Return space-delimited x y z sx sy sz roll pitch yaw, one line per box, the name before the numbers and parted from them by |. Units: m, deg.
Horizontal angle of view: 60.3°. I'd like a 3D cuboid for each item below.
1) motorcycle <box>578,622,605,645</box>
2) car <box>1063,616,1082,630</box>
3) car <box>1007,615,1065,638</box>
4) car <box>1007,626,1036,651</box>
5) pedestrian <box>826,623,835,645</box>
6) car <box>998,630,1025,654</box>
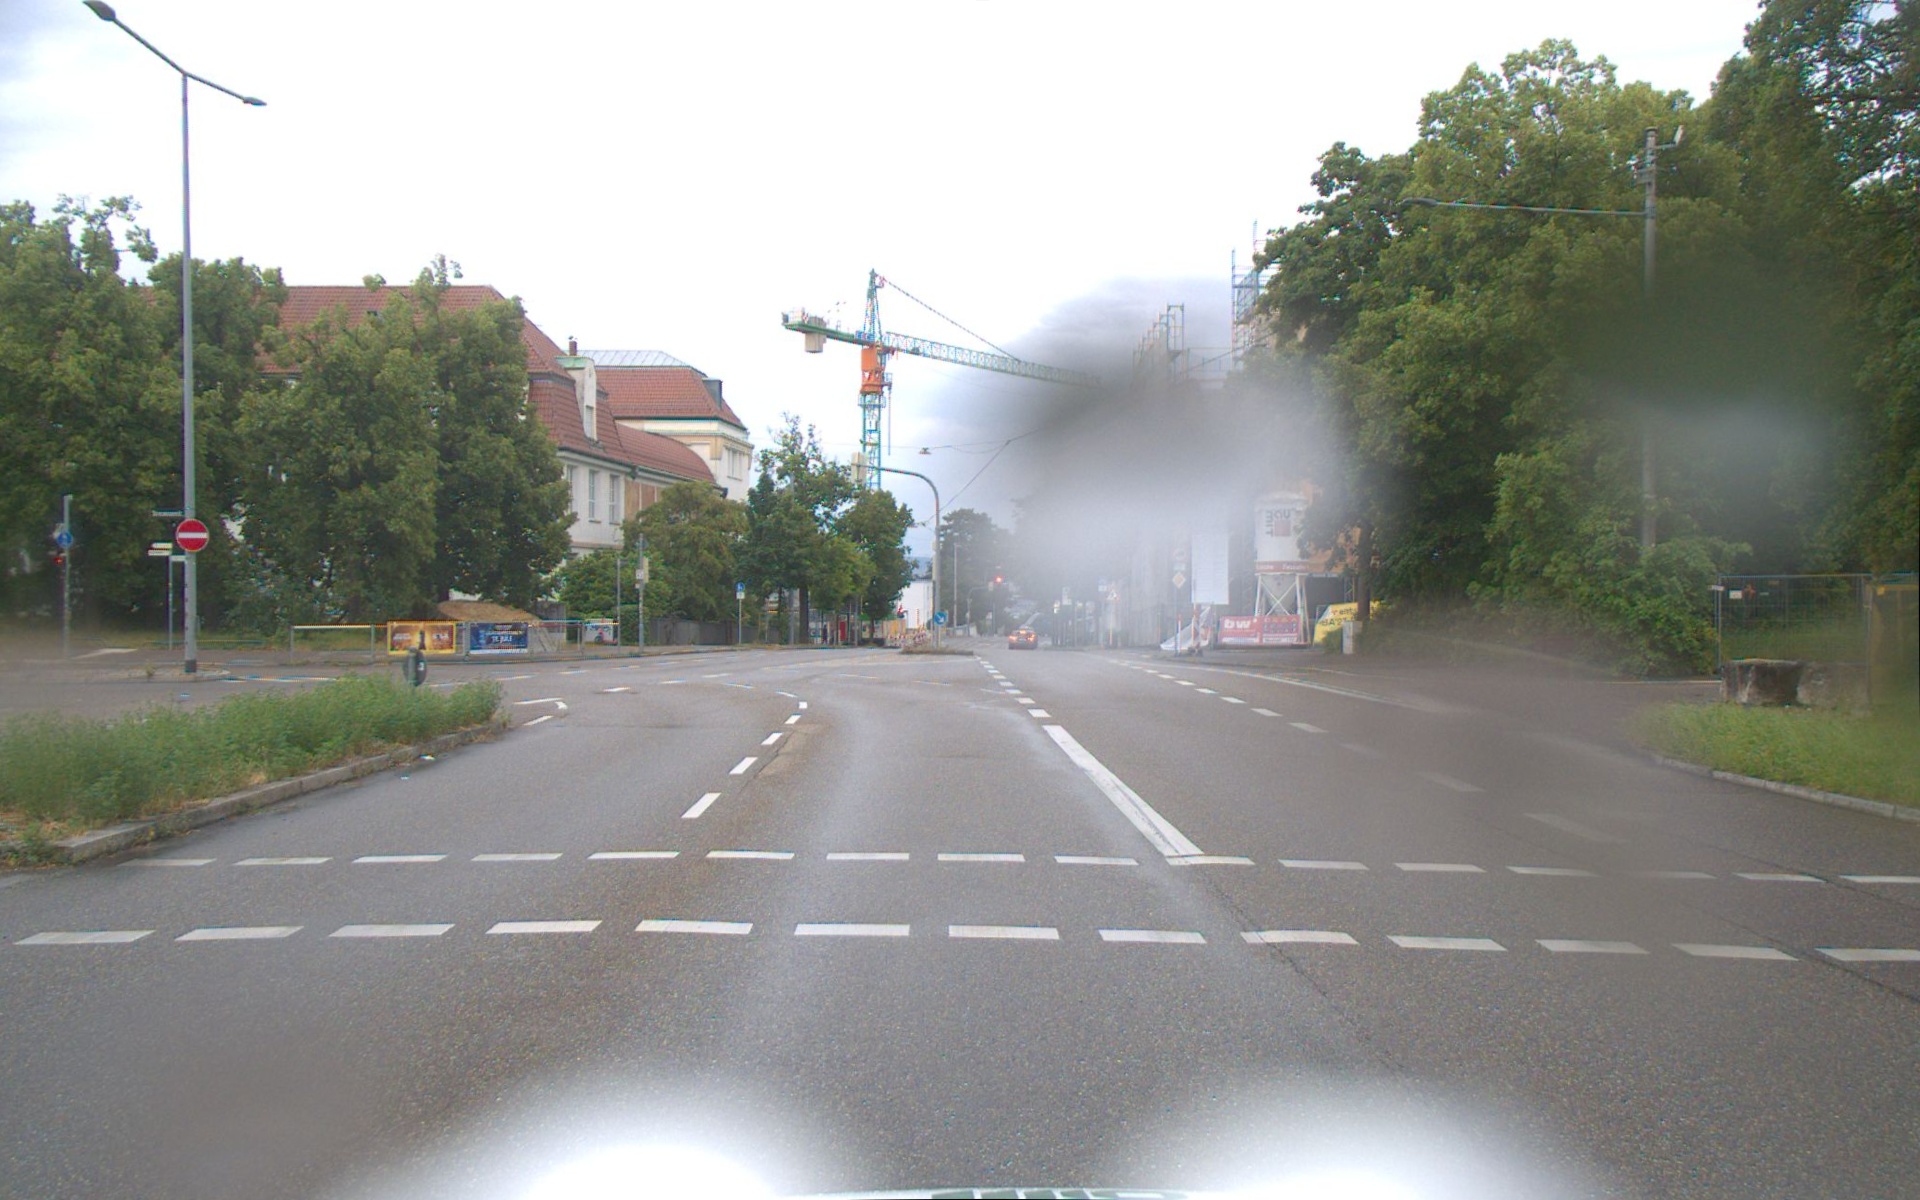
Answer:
motorcycle | -14.410 1.307 64.709 0.832 0.893 0.877 1 0 -1
car | 14.941 3.101 219.517 1.951 1.780 4.003 -1 0 10
car | 8.449 2.946 183.756 6.117 2.445 2.822 1 0 -36
car | 4.632 2.906 124.879 1.953 1.780 3.999 -1 0 -1
pedestrian | -10.002 2.656 127.824 0.483 1.674 0.534 1 -1 10
car | 4.047 3.311 131.051 1.953 1.780 3.999 -1 0 -1
